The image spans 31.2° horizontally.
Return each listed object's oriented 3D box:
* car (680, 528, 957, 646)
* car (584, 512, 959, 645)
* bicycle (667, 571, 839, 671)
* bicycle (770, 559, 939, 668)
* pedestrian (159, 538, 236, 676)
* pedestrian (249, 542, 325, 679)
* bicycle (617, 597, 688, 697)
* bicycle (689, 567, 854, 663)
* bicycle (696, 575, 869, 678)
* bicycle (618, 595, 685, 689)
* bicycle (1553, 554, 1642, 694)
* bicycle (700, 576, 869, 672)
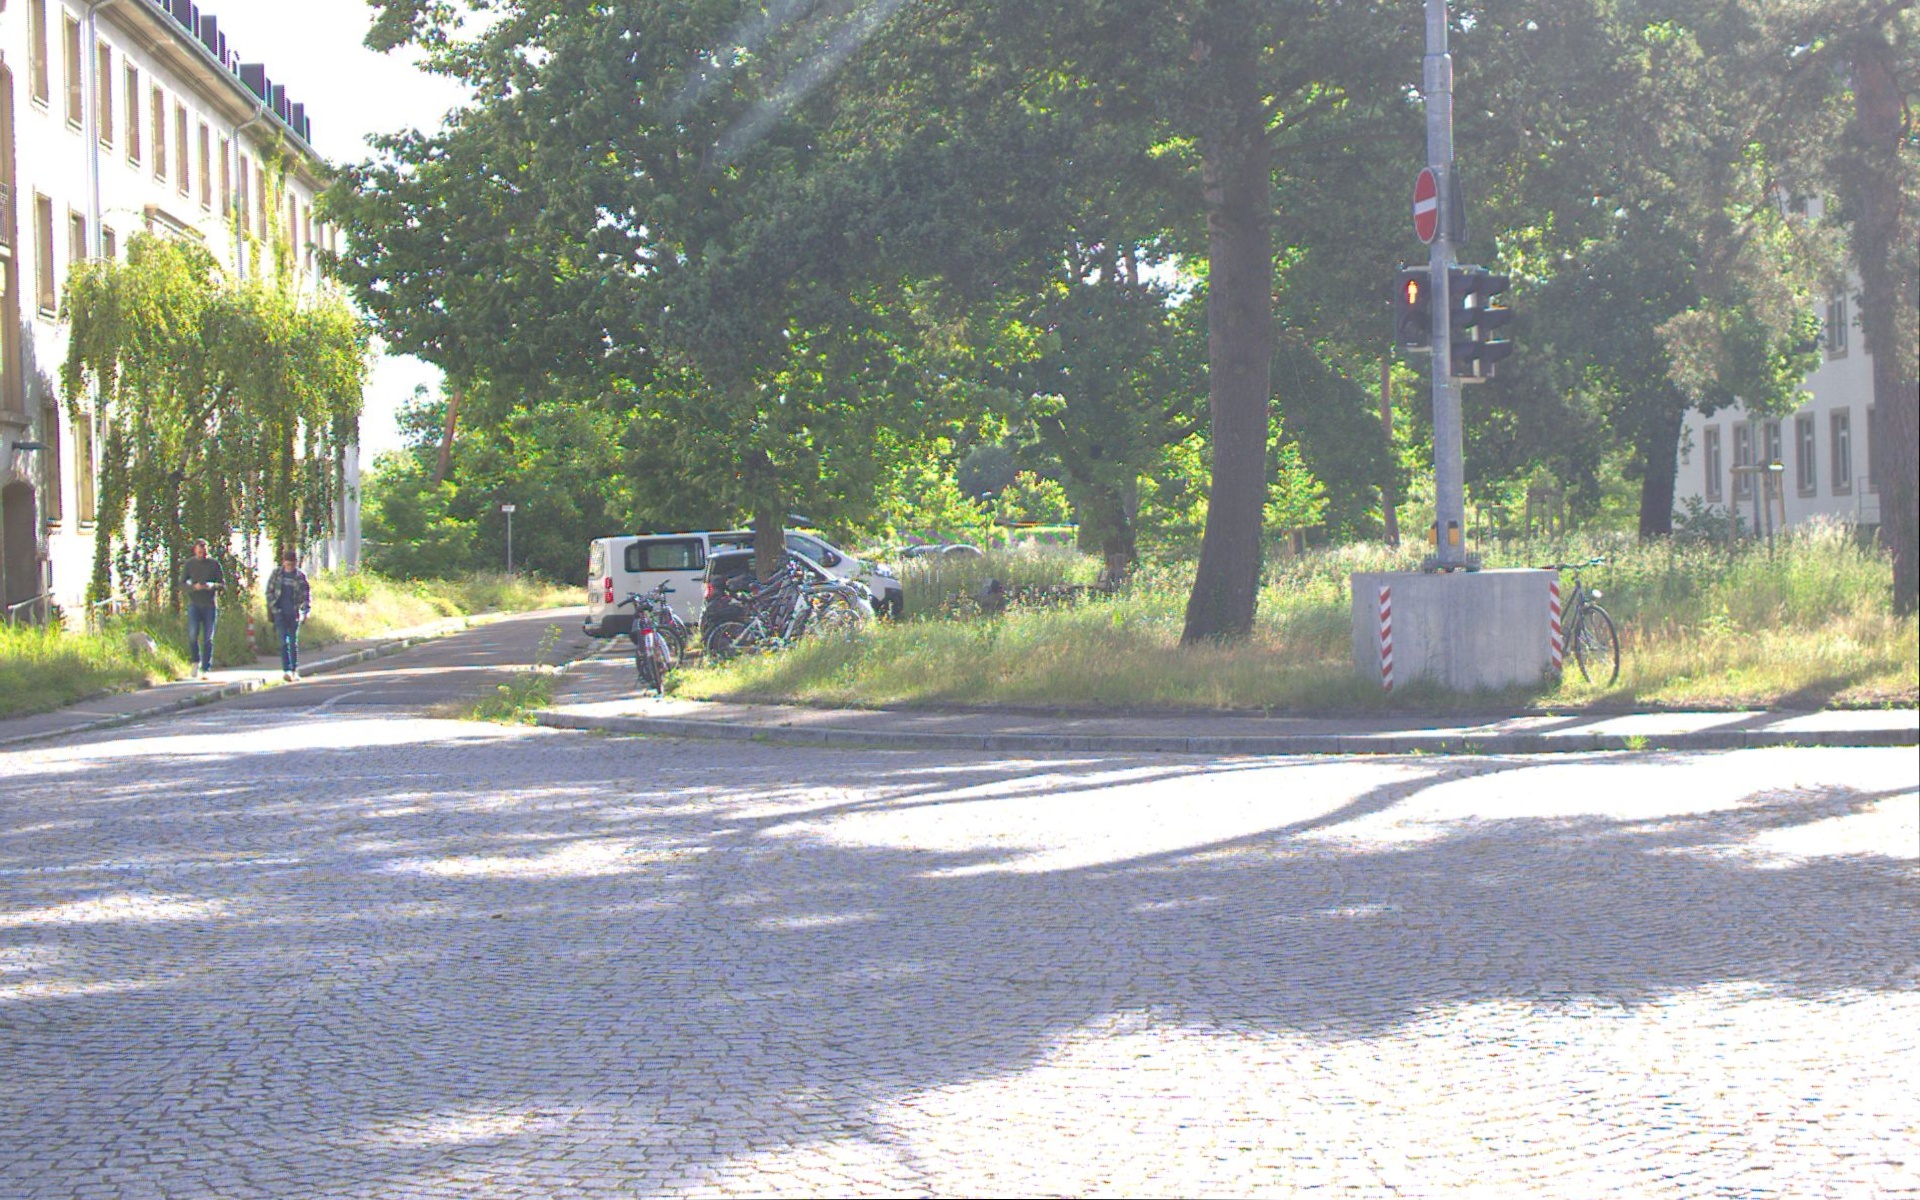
[{"bbox_3d":[-2.198,-0.214,52.987,3.986,1.678,1.848,-2,1,-11],"label":"car"},{"bbox_3d":[-3.180,-0.372,57.353,5.929,2.007,2.476,-2,1,-10],"label":"car"},{"bbox_3d":[-2.476,0.244,41.232,1.941,1.125,0.648,-2,1,-30],"label":"bicycle"},{"bbox_3d":[-1.250,0.153,40.780,1.940,1.231,0.485,-2,1,-6],"label":"bicycle"},{"bbox_3d":[-10.198,0.090,45.970,0.812,1.811,0.555,-1,1,7],"label":"pedestrian"},{"bbox_3d":[-9.052,0.141,46.265,0.767,1.811,0.682,-1,1,7],"label":"pedestrian"},{"bbox_3d":[-3.200,0.474,35.699,0.695,0.968,1.861,-1,1,-6],"label":"bicycle"},{"bbox_3d":[-2.323,0.178,42.337,1.940,1.125,0.648,-2,1,-8],"label":"bicycle"},{"bbox_3d":[-2.076,0.299,40.036,1.940,1.125,0.750,-2,1,-6],"label":"bicycle"},{"bbox_3d":[-3.381,0.449,37.620,0.695,0.968,1.861,-1,1,-6],"label":"bicycle"},{"bbox_3d":[5.085,0.184,27.467,0.466,1.076,1.174,-2,0,0],"label":"bicycle"},{"bbox_3d":[-2.013,0.267,39.242,1.854,1.027,0.750,-2,1,-6],"label":"bicycle"}]
